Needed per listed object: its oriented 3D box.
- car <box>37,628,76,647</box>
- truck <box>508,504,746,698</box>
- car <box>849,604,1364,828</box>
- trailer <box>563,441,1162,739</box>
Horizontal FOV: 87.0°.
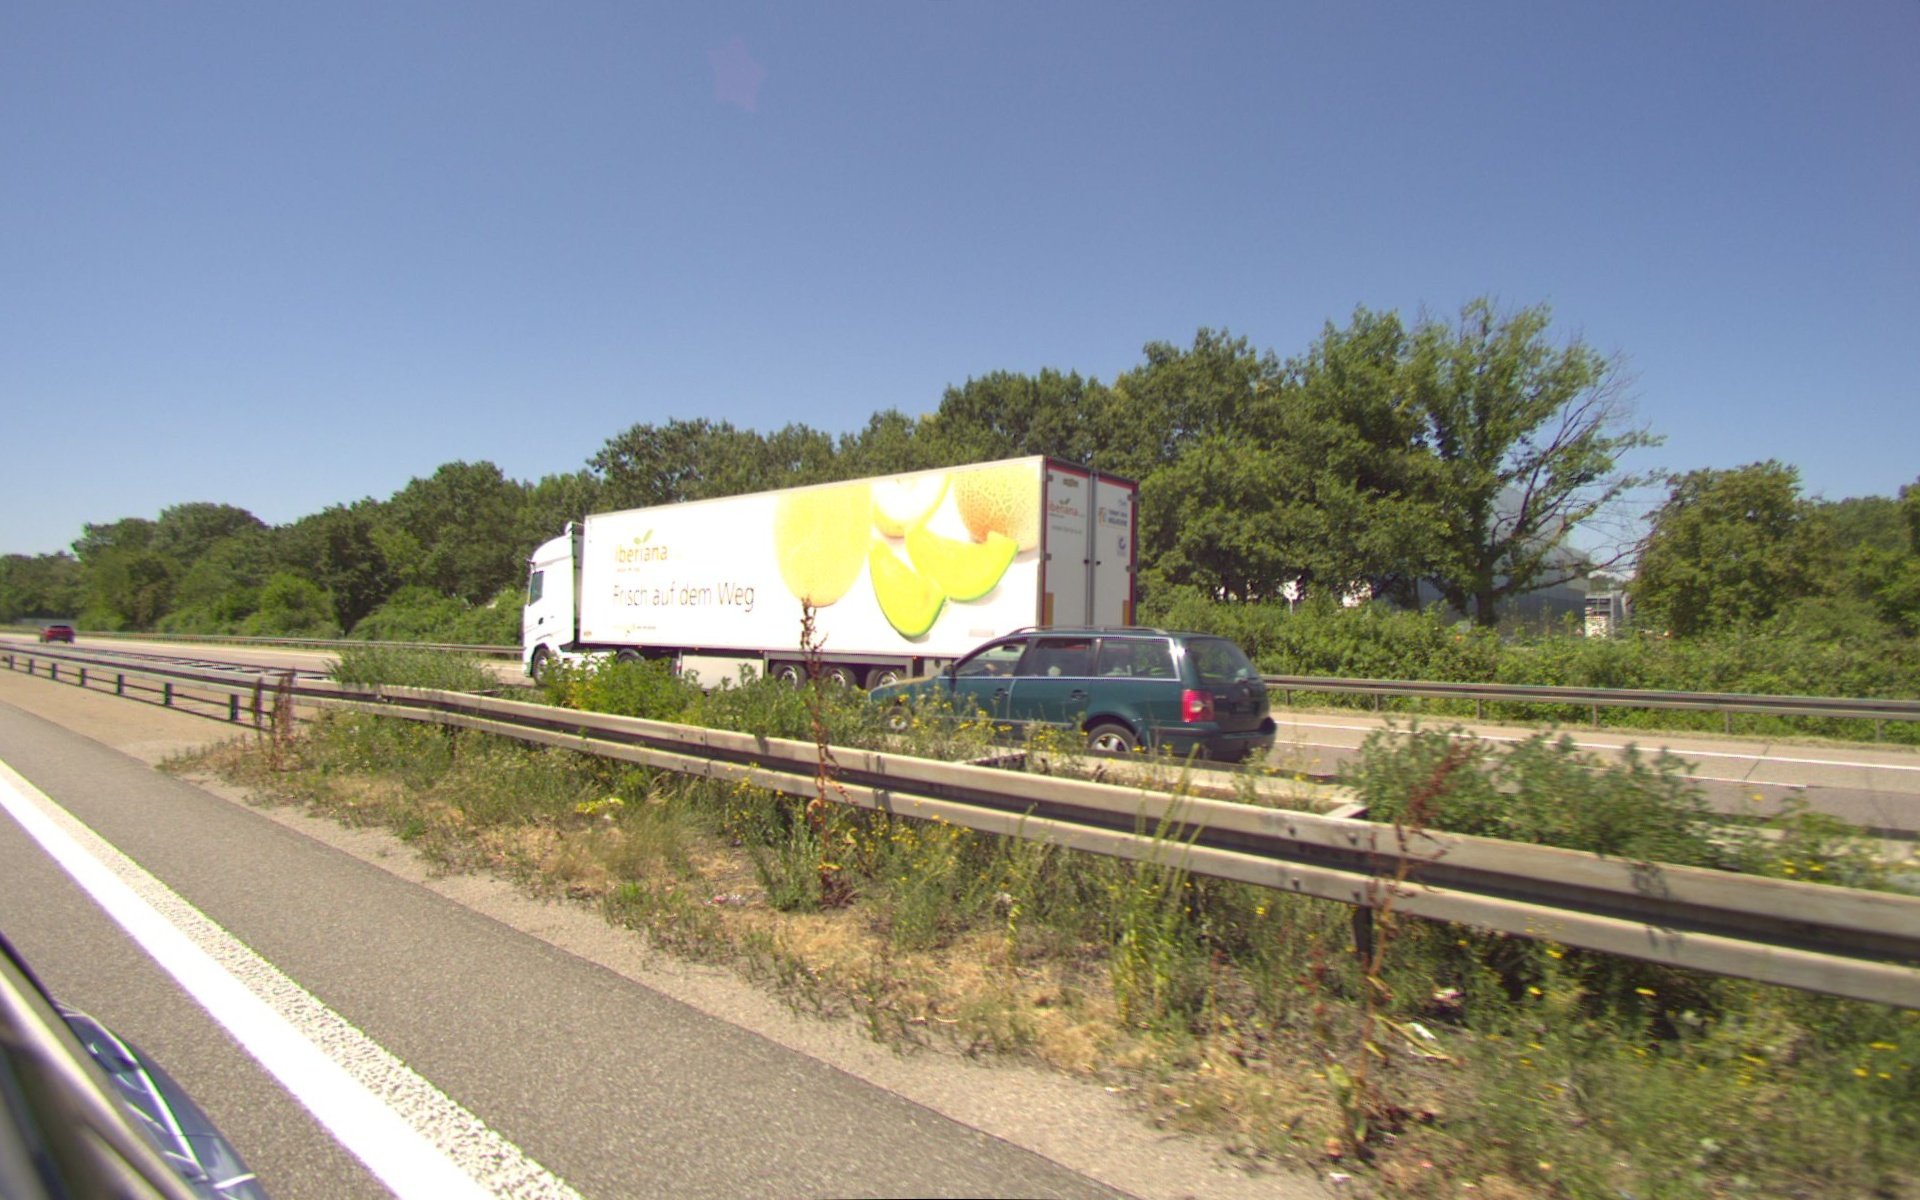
[{"bbox_3d":[-69.658,2.902,78.020,4.109,1.428,1.754,-2,-4,42],"label":"car"},{"bbox_3d":[-8.207,0.106,24.572,6.216,4.116,2.710,-1,-3,42],"label":"truck"},{"bbox_3d":[1.271,0.929,10.137,4.798,1.706,1.939,-1,0,40],"label":"car"},{"bbox_3d":[-3.012,0.007,19.796,14.344,4.116,2.710,-1,-3,42],"label":"trailer"}]
